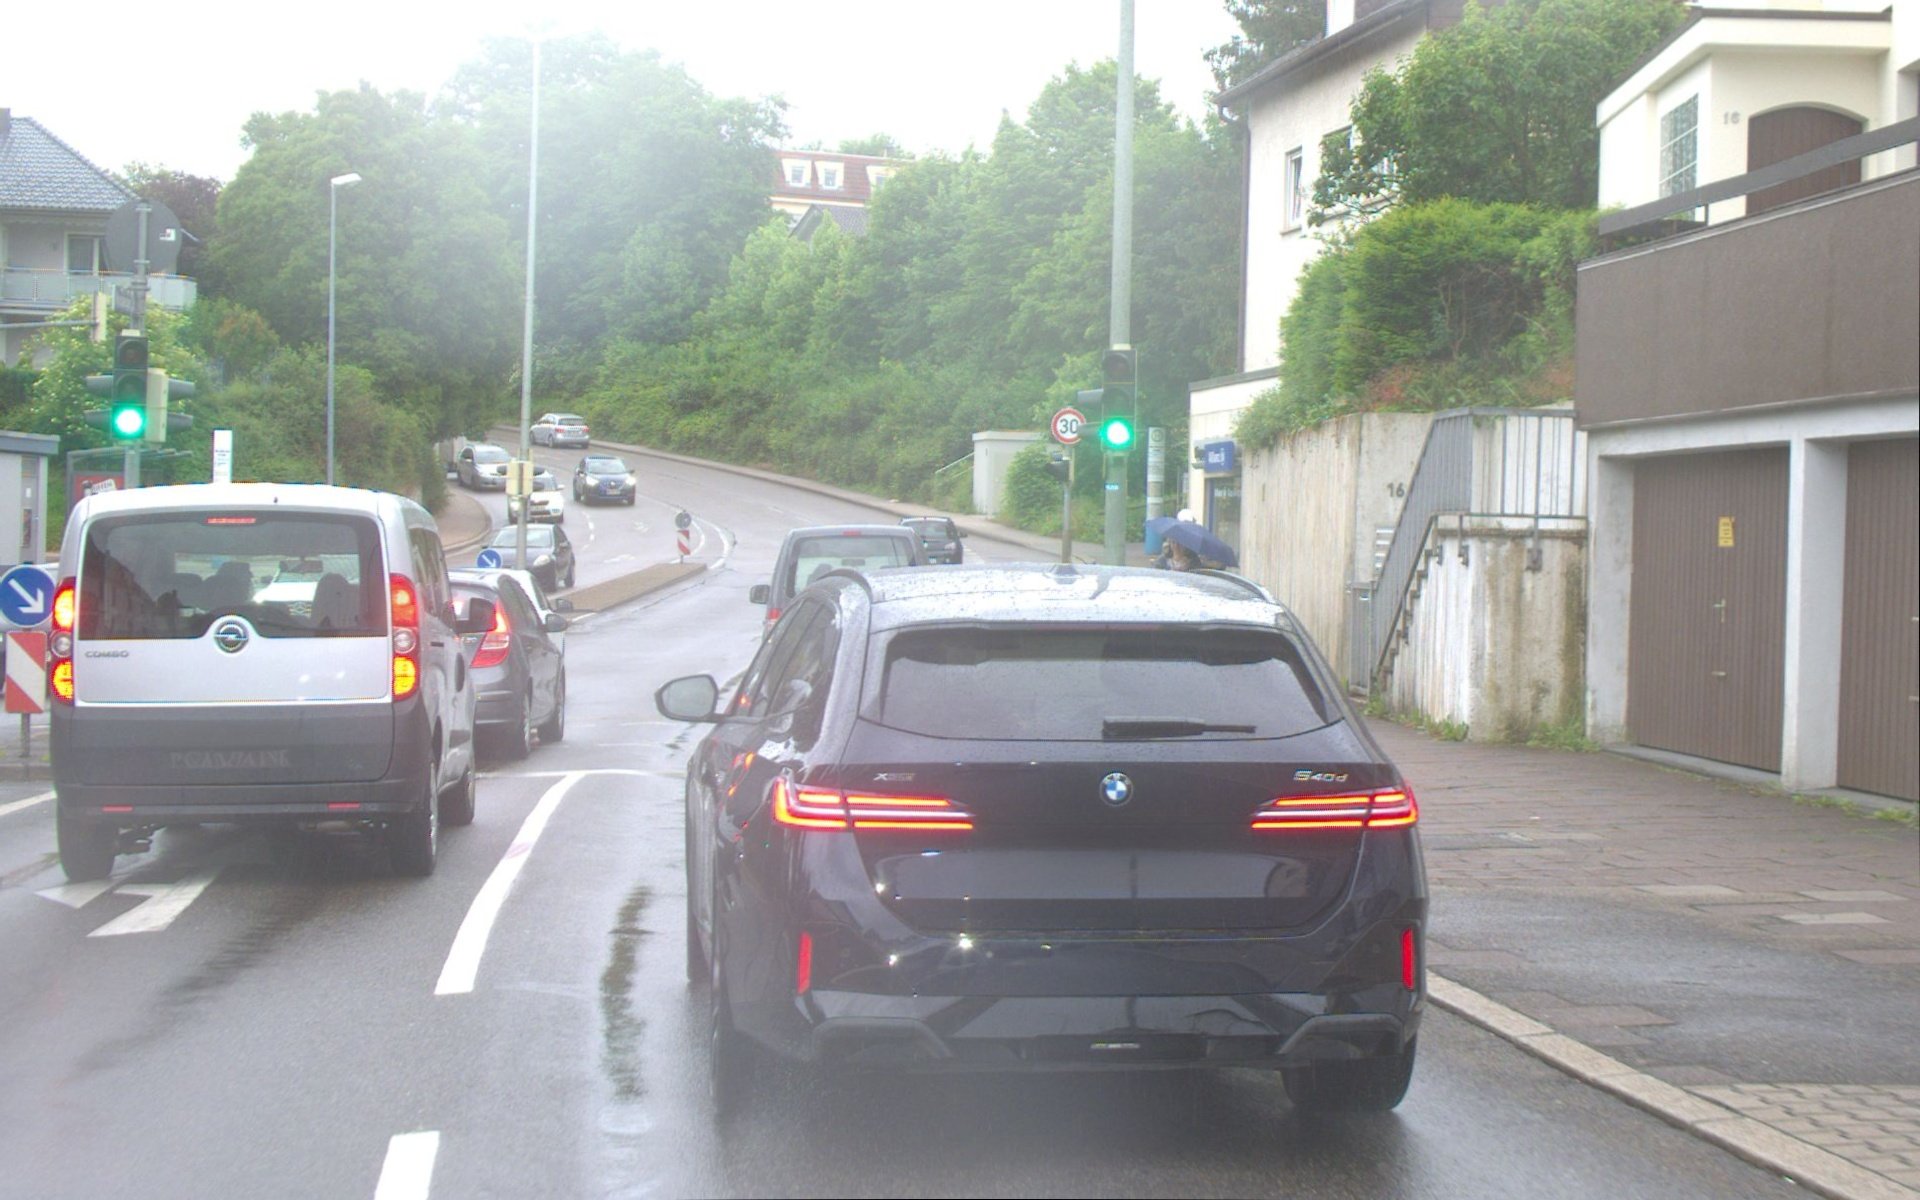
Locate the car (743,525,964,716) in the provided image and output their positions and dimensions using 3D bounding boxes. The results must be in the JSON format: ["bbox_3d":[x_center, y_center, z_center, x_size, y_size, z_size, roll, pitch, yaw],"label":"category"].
[{"bbox_3d":[-1.102,0.169,33.552,1.993,1.742,4.001,0,1,-4],"label":"car"}]

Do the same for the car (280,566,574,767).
[{"bbox_3d":[-4.161,0.476,27.390,1.835,1.482,4.059,0,0,-2],"label":"car"}]

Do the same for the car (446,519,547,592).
[{"bbox_3d":[-10.282,-0.973,76.471,1.993,1.568,4.001,0,0,-5],"label":"car"}]

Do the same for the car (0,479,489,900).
[{"bbox_3d":[-3.543,0.371,17.695,1.951,1.864,4.747,0,1,-5],"label":"car"}]

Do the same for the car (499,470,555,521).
[{"bbox_3d":[-14.504,-3.481,115.373,1.823,1.651,4.467,0,1,-7],"label":"car"}]

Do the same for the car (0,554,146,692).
[{"bbox_3d":[-10.400,0.220,38.791,1.852,1.459,4.001,1,1,-6],"label":"car"}]

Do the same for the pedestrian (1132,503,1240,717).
[{"bbox_3d":[1.912,0.081,29.175,0.793,1.774,1.011,-1,0,-2],"label":"pedestrian"}]

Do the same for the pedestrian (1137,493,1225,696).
[{"bbox_3d":[2.221,-0.058,34.564,0.797,2.007,0.734,1,0,-2],"label":"pedestrian"}]

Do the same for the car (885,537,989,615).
[{"bbox_3d":[-0.550,-0.571,79.667,1.851,1.656,4.001,1,2,-8],"label":"car"}]

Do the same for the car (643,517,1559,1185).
[{"bbox_3d":[0.147,0.636,10.582,1.993,1.581,4.664,1,-1,-8],"label":"car"}]

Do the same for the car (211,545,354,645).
[{"bbox_3d":[-10.919,-0.085,55.683,1.835,1.551,4.771,0,0,-6],"label":"car"}]

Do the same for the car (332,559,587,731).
[{"bbox_3d":[-4.703,0.382,32.915,1.908,1.523,4.652,0,0,-2],"label":"car"}]

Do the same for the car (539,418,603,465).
[{"bbox_3d":[-17.933,-7.267,158.356,1.993,2.007,4.001,0,1,-21],"label":"car"}]

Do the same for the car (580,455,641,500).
[{"bbox_3d":[-12.612,-4.396,123.876,1.840,1.546,4.385,-1,1,-10],"label":"car"}]
